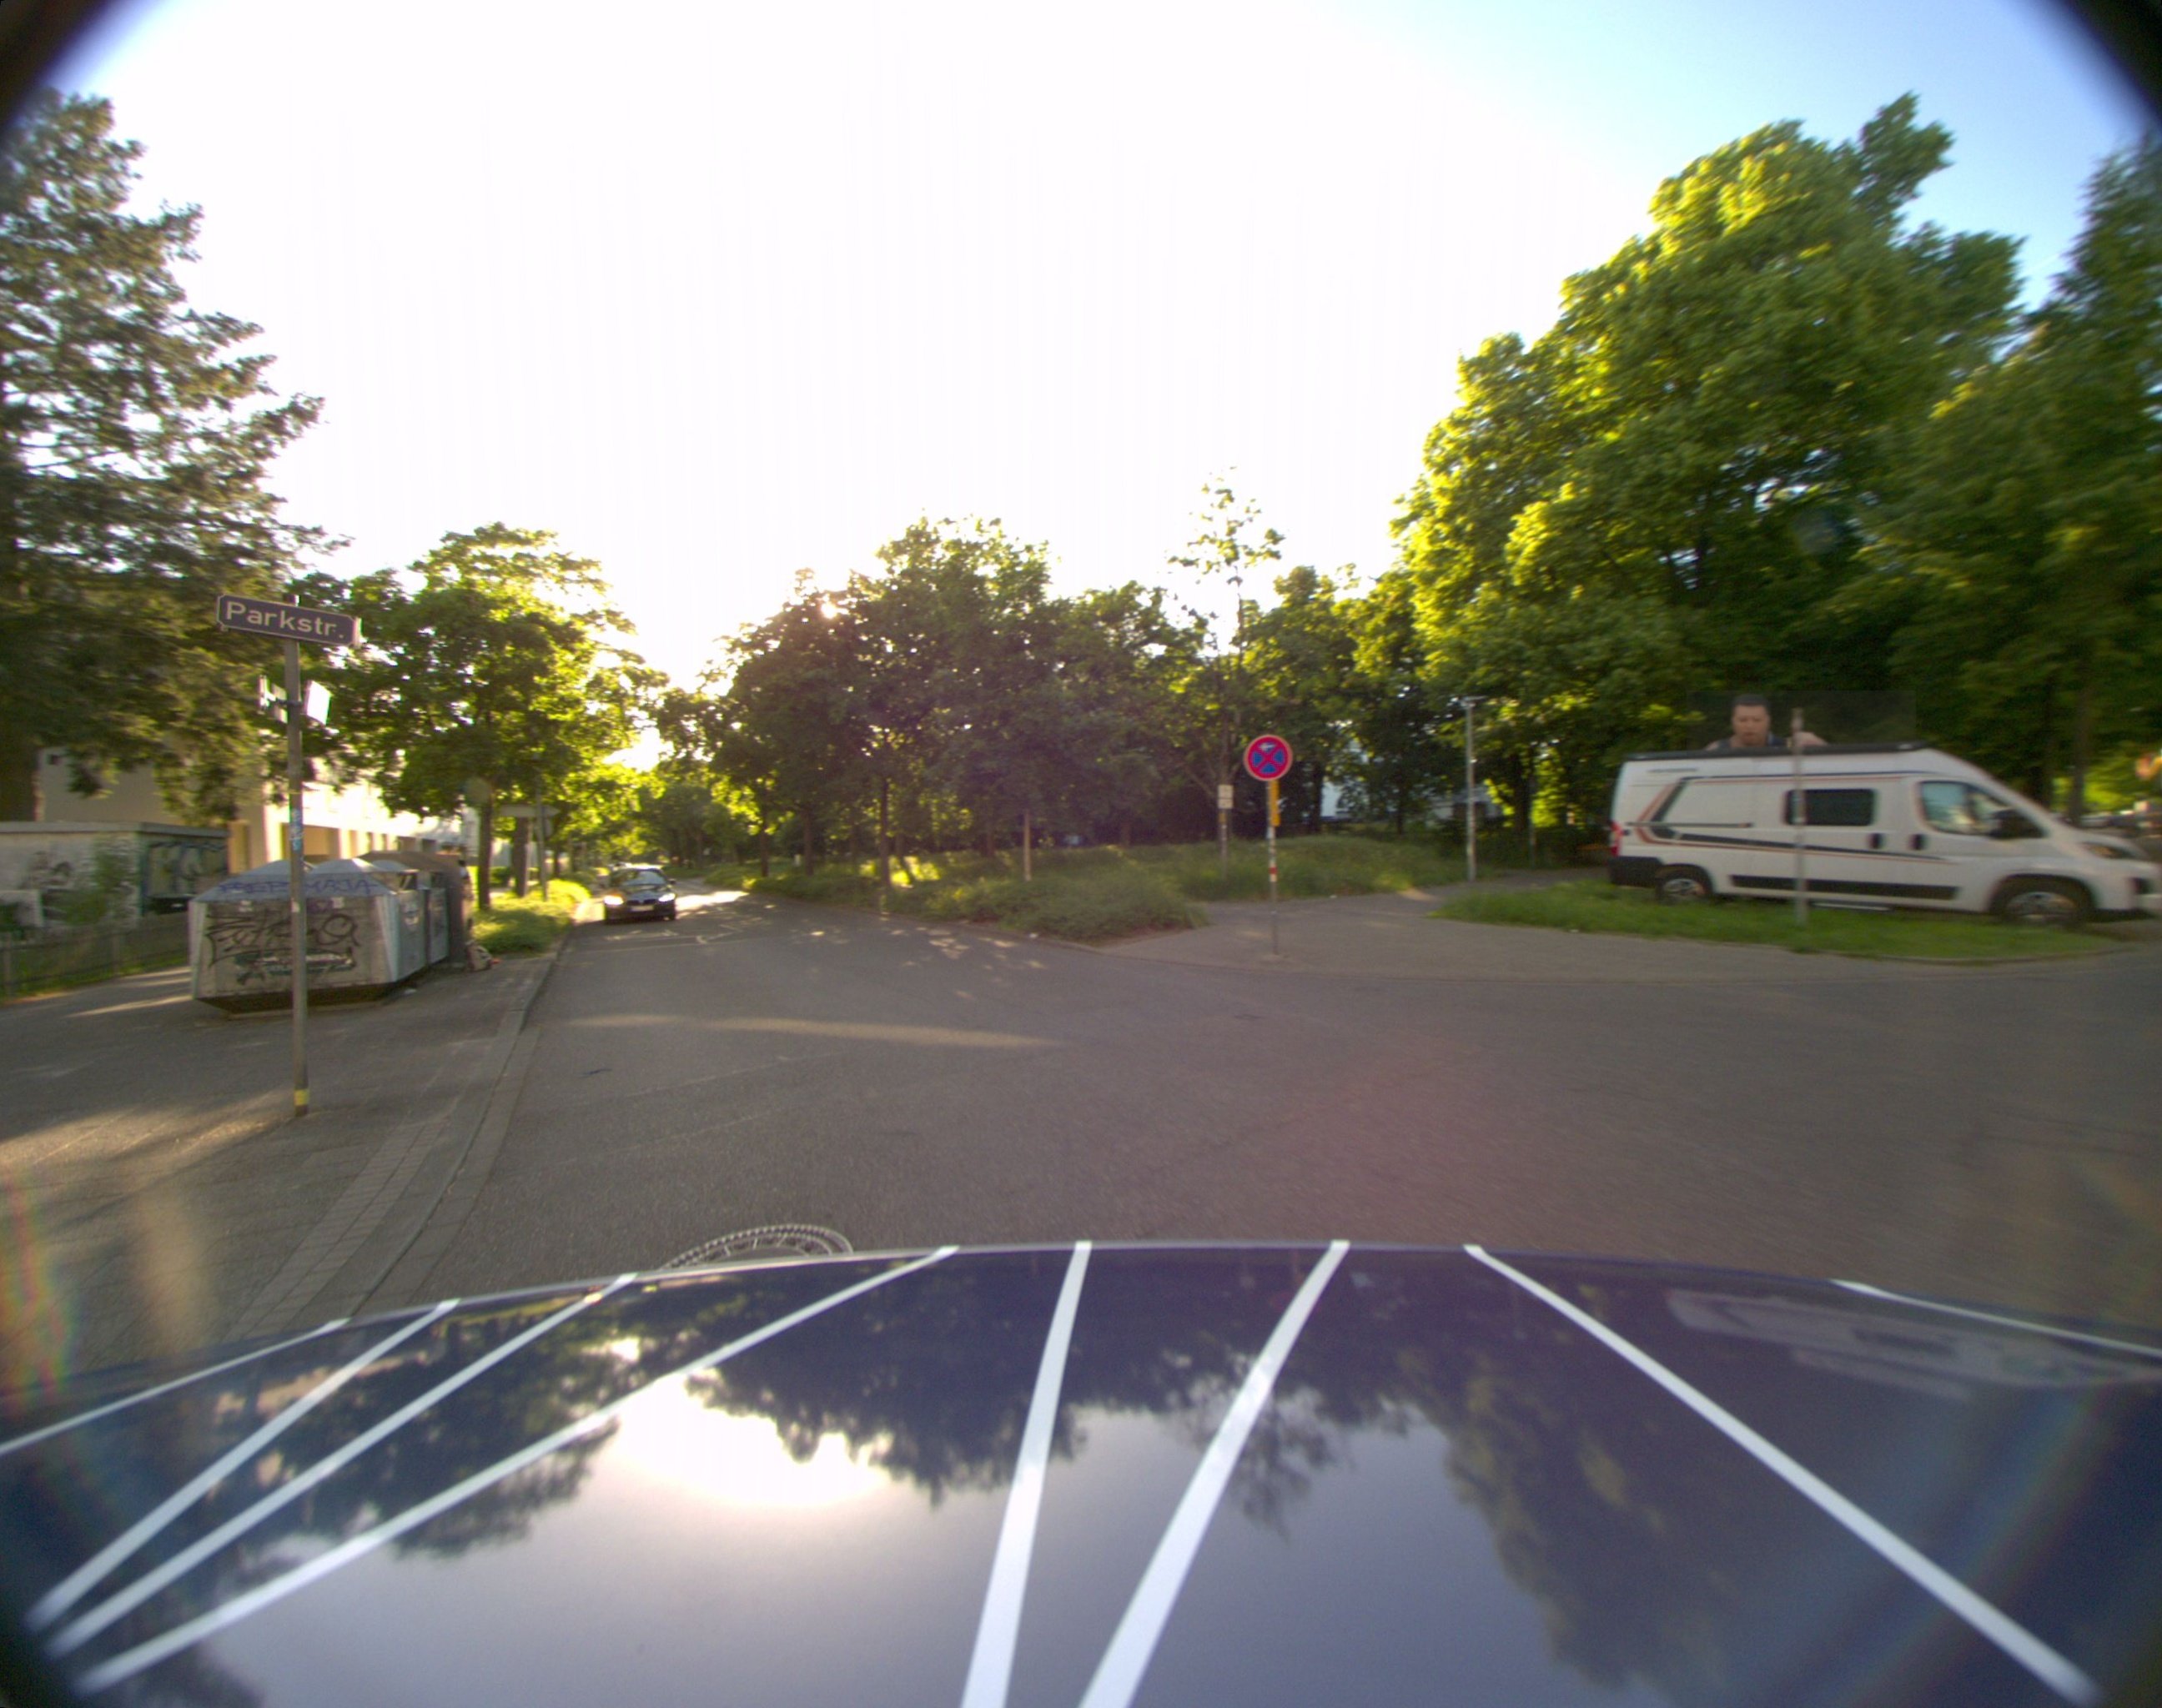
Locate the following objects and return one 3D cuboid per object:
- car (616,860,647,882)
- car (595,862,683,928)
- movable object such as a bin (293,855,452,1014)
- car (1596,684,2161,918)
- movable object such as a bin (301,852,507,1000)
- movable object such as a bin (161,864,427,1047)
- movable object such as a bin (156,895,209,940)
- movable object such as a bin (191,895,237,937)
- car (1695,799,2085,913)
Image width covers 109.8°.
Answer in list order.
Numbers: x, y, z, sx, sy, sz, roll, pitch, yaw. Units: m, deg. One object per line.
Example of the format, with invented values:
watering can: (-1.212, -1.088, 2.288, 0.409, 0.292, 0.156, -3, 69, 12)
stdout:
car: (-35.653, 1.326, 60.306, 2.003, 1.531, 3.990, -4, 2, -30)
car: (-13.244, 1.107, 22.636, 1.894, 1.613, 4.607, -4, 2, -34)
movable object such as a bin: (-9.101, 0.954, 9.869, 1.152, 1.817, 1.383, -4, 2, -32)
car: (11.229, -0.618, 11.165, 2.242, 2.599, 5.616, -5, 3, -41)
movable object such as a bin: (-9.738, 0.951, 11.105, 1.929, 1.843, 1.390, -4, 2, -32)
movable object such as a bin: (-8.510, 0.989, 8.406, 1.593, 1.648, 1.636, -4, 2, -32)
movable object such as a bin: (-21.594, 1.513, 18.269, 0.646, 1.024, 0.643, -1, 1, -33)
movable object such as a bin: (-22.513, 1.592, 19.740, 0.617, 1.024, 0.593, -1, 1, -33)
car: (13.335, 0.014, 12.855, 1.982, 1.566, 4.288, -5, 2, -41)
